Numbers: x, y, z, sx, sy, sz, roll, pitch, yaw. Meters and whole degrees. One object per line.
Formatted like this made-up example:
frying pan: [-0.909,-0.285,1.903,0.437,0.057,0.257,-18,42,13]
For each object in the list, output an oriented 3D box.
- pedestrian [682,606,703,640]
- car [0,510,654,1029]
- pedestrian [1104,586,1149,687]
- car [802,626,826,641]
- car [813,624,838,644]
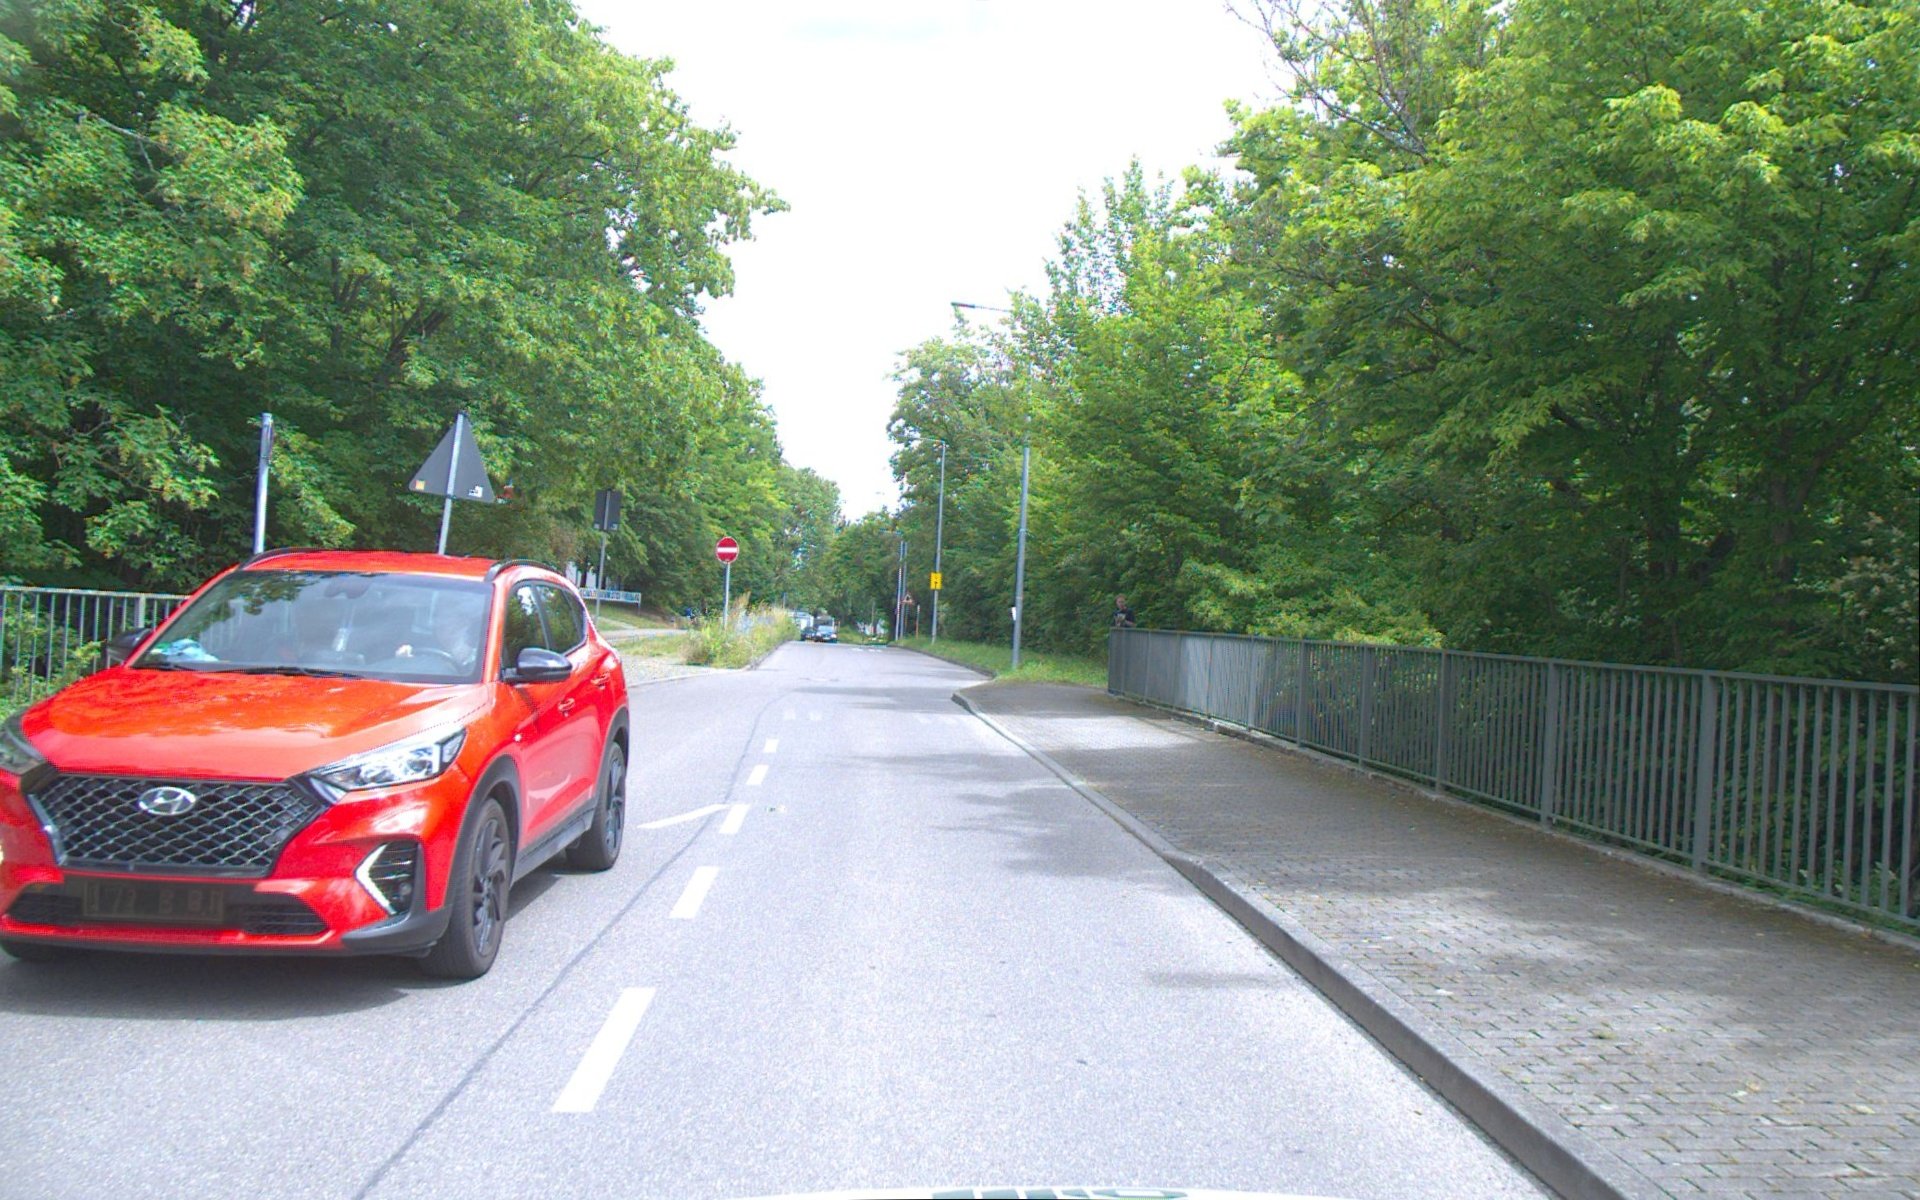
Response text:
pedestrian: [-16.846,1.442,104.133,0.862,2.049,0.862,-3,-5,40]
car: [-2.694,0.565,7.650,1.806,1.688,4.220,2,0,-1]
pedestrian: [3.061,0.672,30.479,0.577,1.814,0.680,3,-2,-13]
car: [-15.467,3.585,175.351,1.938,1.408,4.001,4,-1,3]
car: [-10.017,2.515,123.260,1.659,1.372,4.092,3,-1,-2]
